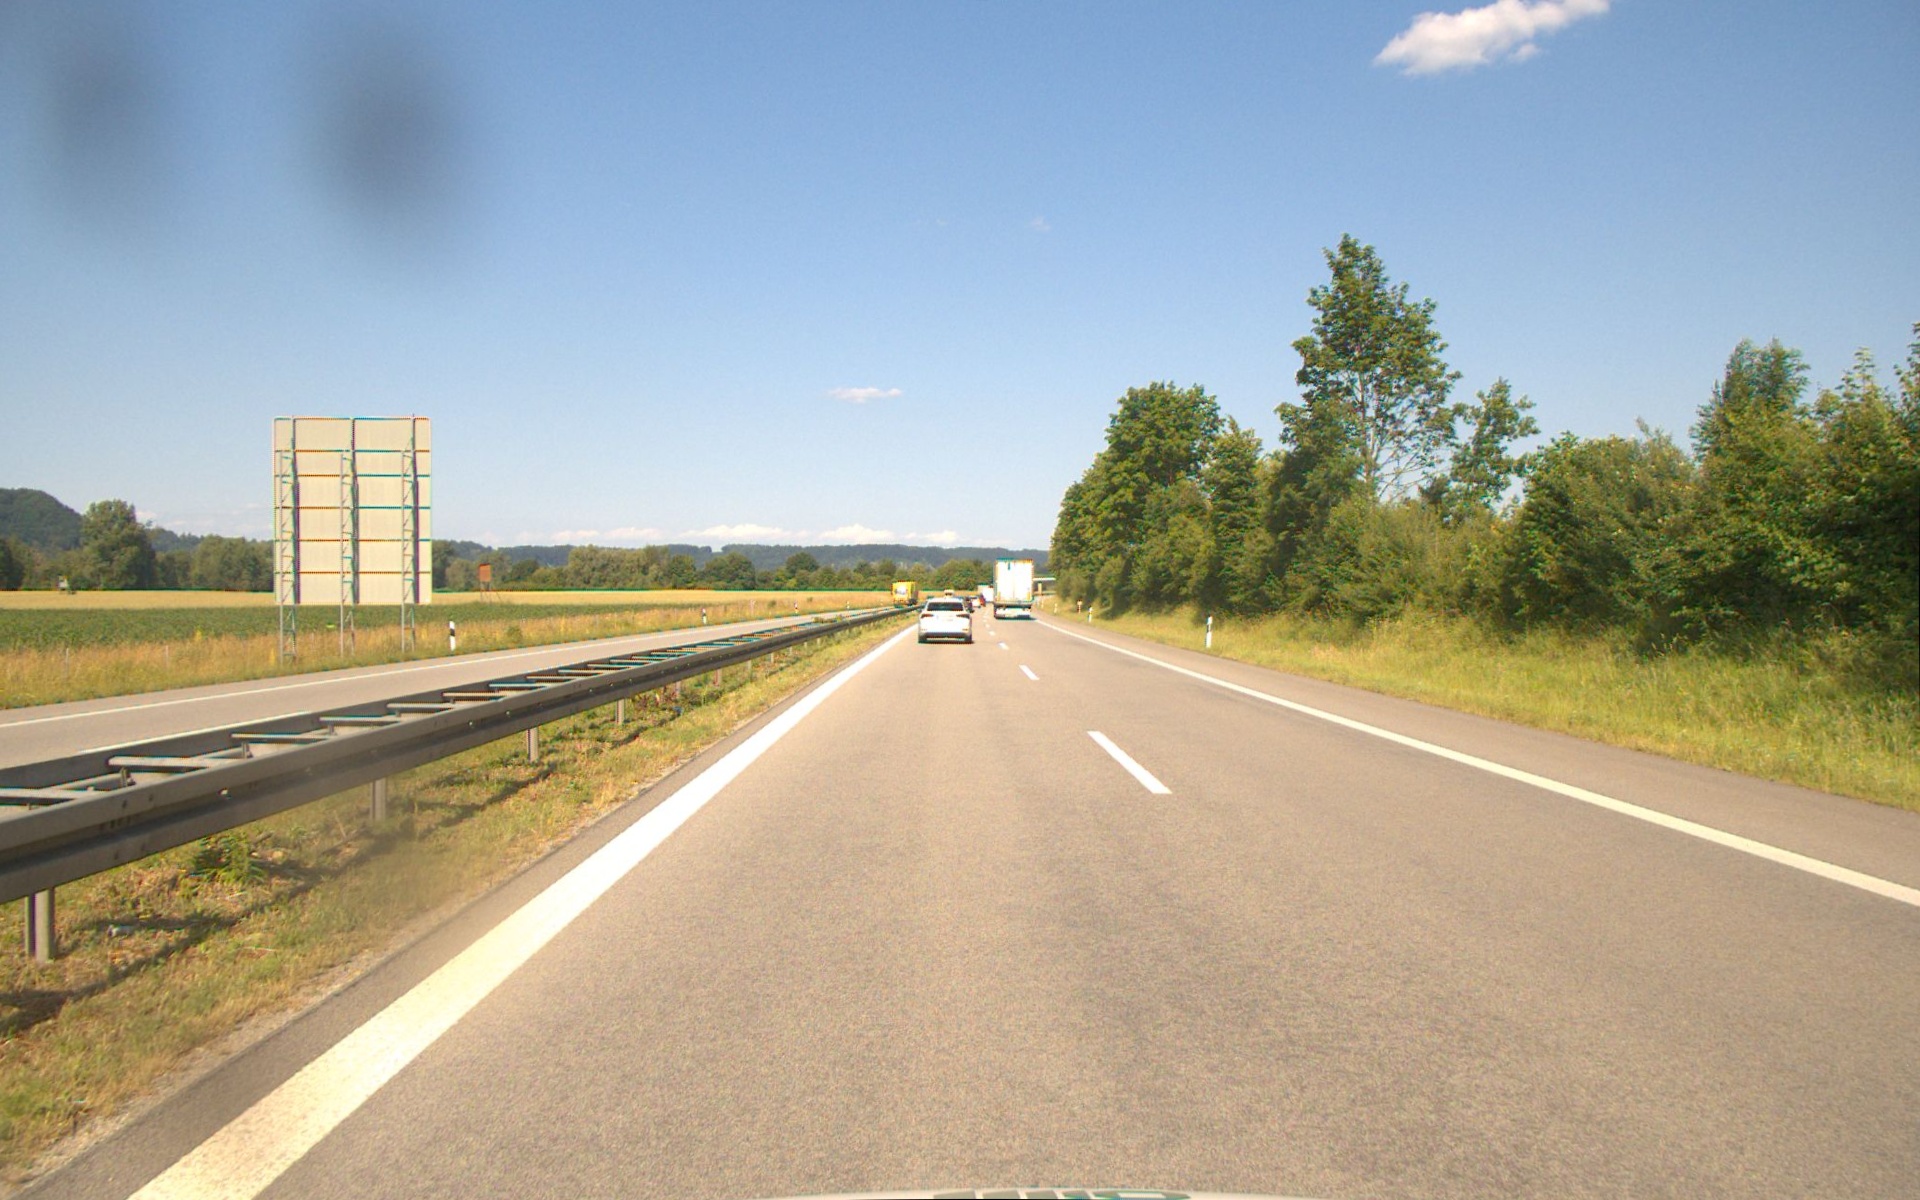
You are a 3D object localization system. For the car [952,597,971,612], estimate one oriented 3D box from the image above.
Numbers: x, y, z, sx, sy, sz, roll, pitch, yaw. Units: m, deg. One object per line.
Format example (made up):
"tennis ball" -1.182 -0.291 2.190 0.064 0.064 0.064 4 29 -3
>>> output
"car" 0.179 0.430 157.955 1.735 1.446 4.365 1 0 1

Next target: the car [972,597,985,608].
"car" 2.489 0.292 220.915 1.735 1.446 4.365 1 0 1

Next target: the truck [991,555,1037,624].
"truck" 3.759 -0.724 116.371 3.087 4.693 8.906 0 0 1

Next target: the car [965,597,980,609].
"car" 1.554 0.341 200.359 1.735 1.446 4.365 1 0 1

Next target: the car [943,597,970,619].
"car" -0.273 0.511 112.528 1.735 1.446 4.494 1 0 -1

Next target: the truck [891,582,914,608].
"truck" -8.191 -0.695 234.830 2.679 3.442 9.233 -3 0 1

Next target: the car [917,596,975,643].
"car" -0.482 0.604 55.180 1.803 1.446 5.253 1 0 -1
